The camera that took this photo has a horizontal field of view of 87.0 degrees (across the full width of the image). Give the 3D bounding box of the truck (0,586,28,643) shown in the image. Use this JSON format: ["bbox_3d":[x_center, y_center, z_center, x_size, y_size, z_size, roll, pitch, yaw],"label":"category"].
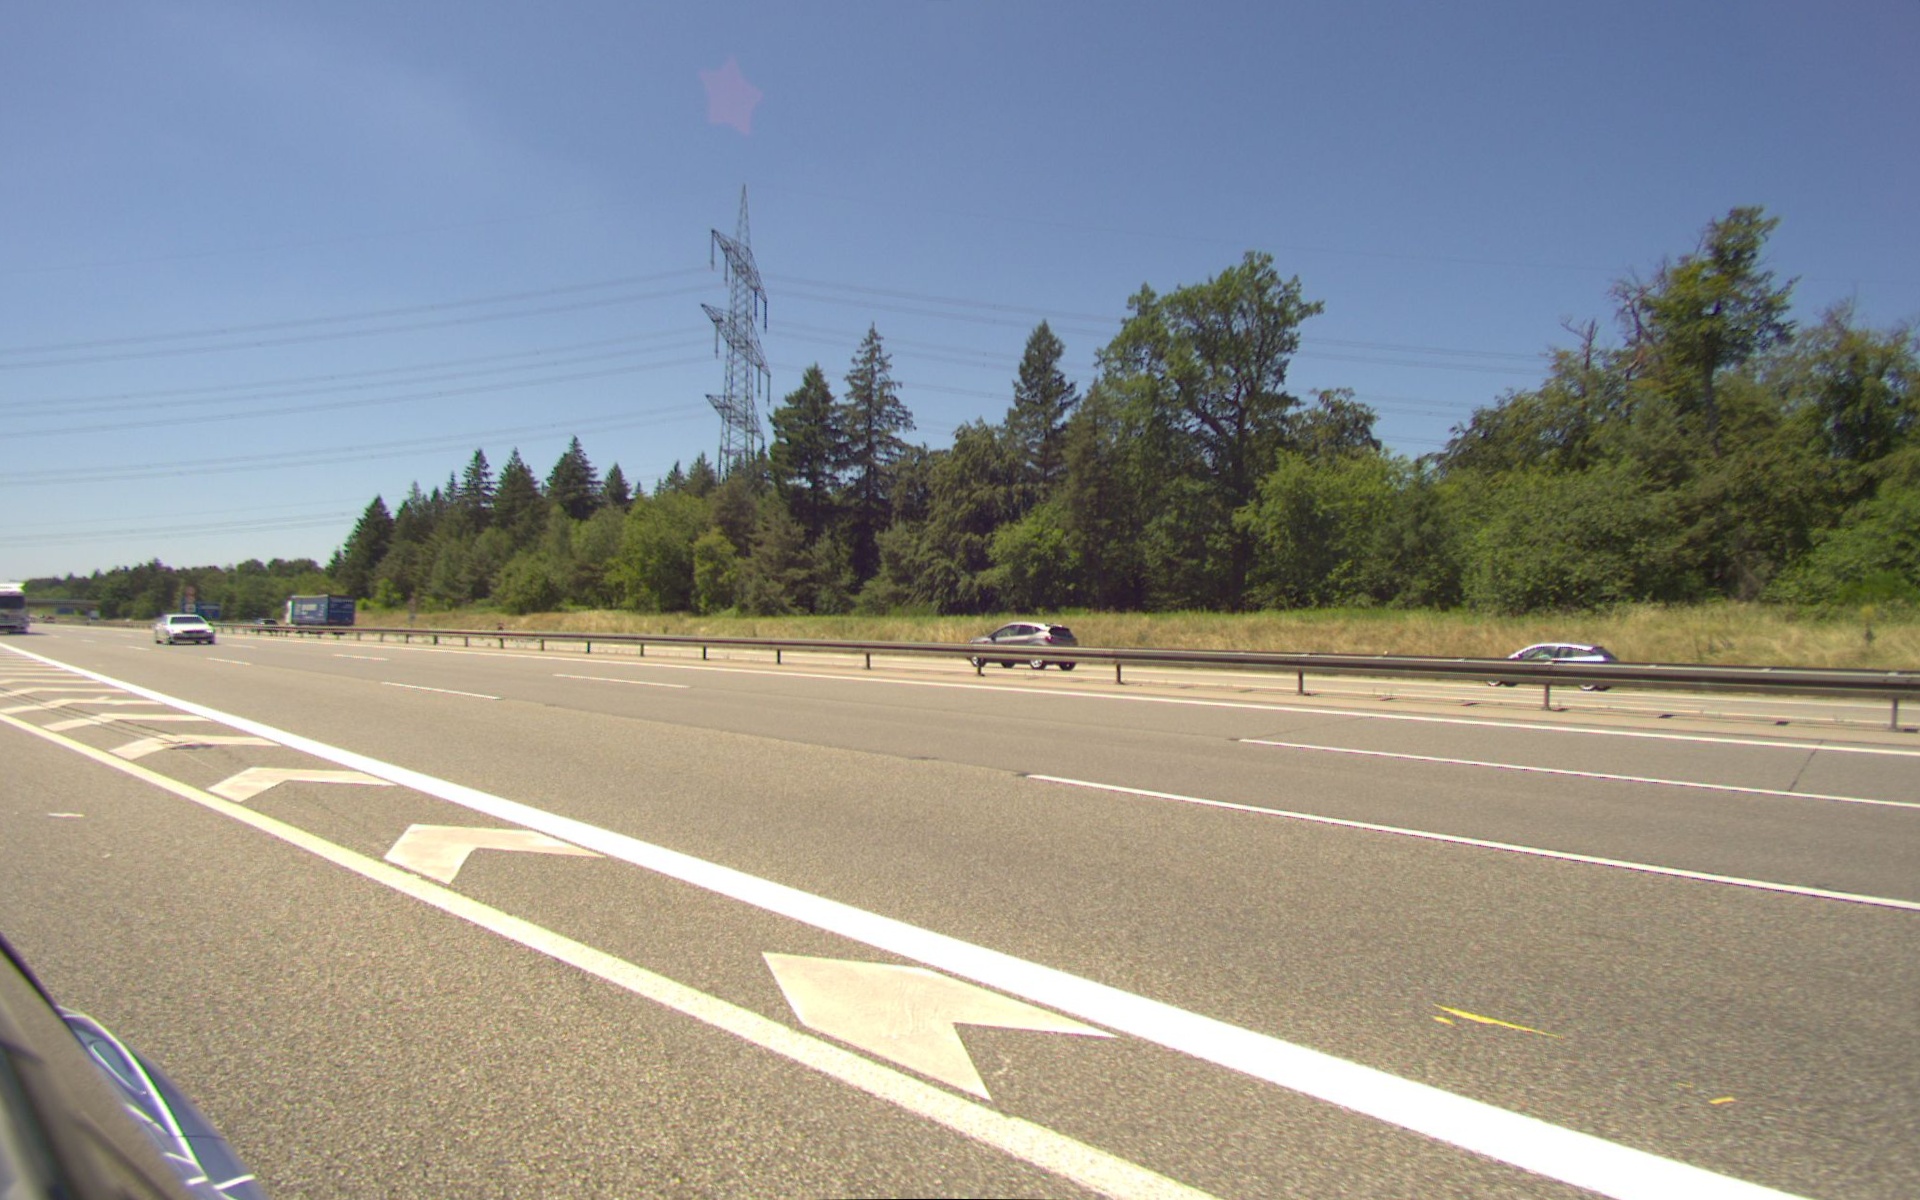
[{"bbox_3d":[-72.602,1.136,76.516,2.938,4.174,5.352,2,-2,-44],"label":"truck"}]

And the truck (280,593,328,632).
[{"bbox_3d":[-72.692,1.422,112.137,5.724,4.204,3.167,-1,-3,44],"label":"truck"}]

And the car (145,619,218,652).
[{"bbox_3d":[-38.833,1.704,50.415,5.403,1.515,1.943,0,-1,42],"label":"car"}]

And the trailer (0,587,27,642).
[{"bbox_3d":[-76.832,1.265,80.901,2.940,4.174,11.703,2,-2,-44],"label":"trailer"}]

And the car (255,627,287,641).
[{"bbox_3d":[-70.908,3.524,104.119,4.433,1.413,1.742,-1,-3,42],"label":"car"}]

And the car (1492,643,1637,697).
[{"bbox_3d":[18.654,2.119,31.308,3.568,1.488,1.603,-1,-2,44],"label":"car"}]

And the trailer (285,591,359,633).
[{"bbox_3d":[-67.941,1.347,107.572,13.986,4.204,3.167,-1,-3,44],"label":"trailer"}]

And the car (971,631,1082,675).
[{"bbox_3d":[2.181,1.731,33.803,3.568,1.366,1.545,-1,-2,44],"label":"car"}]
